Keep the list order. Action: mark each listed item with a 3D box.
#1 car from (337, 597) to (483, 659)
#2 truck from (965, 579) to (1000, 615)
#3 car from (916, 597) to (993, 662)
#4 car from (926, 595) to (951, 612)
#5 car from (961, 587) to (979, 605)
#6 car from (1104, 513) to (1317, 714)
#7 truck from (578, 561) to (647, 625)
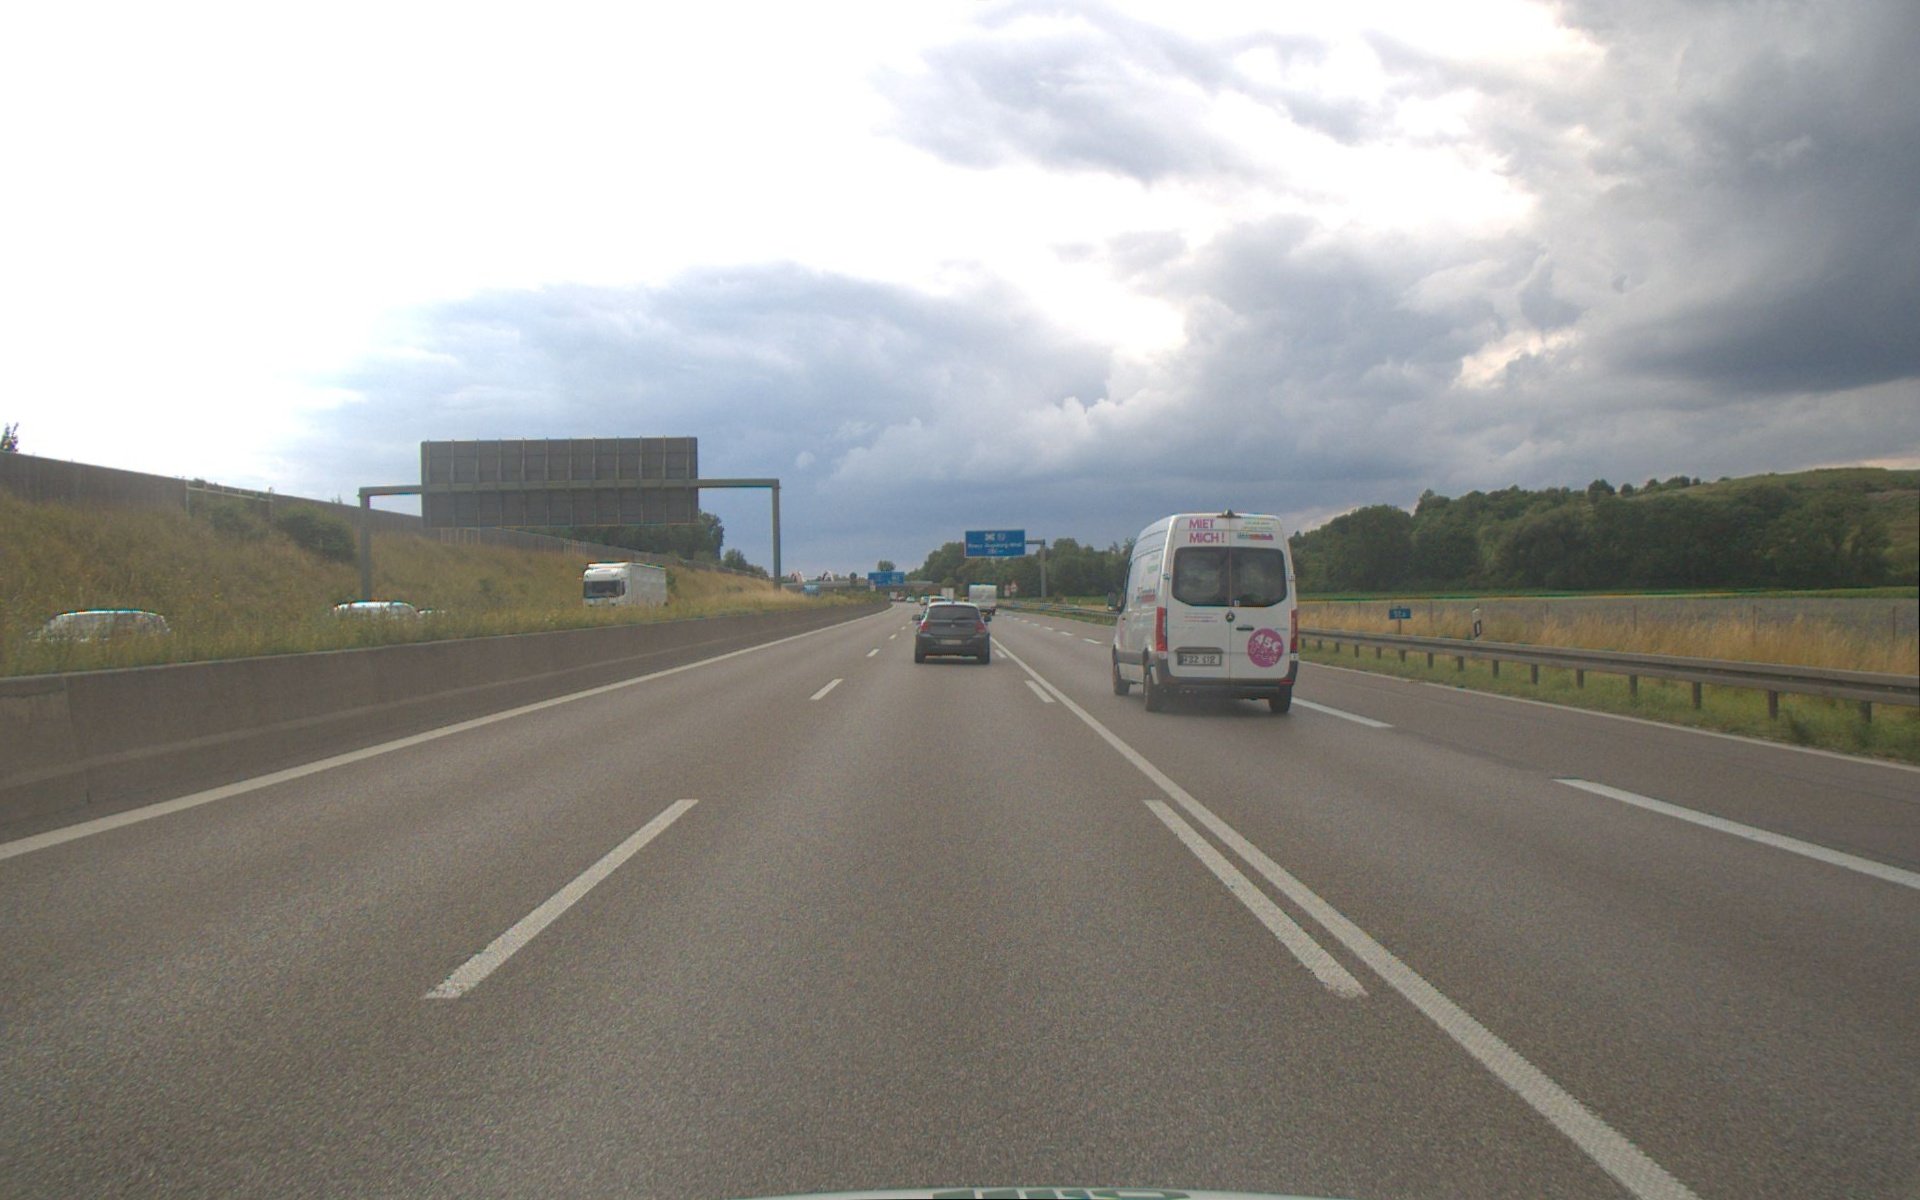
[{"bbox_3d":[-13.278,0.638,40.239,1.953,1.388,4.939,1,0,-1],"label":"car"},{"bbox_3d":[1.936,-0.272,145.602,2.655,3.016,12.444,1,0,-1],"label":"truck"},{"bbox_3d":[-0.141,0.665,39.226,1.708,1.413,4.000,0,0,-1],"label":"car"},{"bbox_3d":[-1.723,0.269,131.321,1.953,1.321,3.999,-1,0,-1],"label":"car"},{"bbox_3d":[1.137,-0.450,195.363,1.953,2.049,3.999,-1,0,-1],"label":"car"},{"bbox_3d":[3.542,0.155,24.665,2.176,2.613,6.255,0,0,-1],"label":"car"},{"bbox_3d":[-21.385,-0.438,102.121,2.671,3.741,7.488,-1,0,-1],"label":"truck"}]
